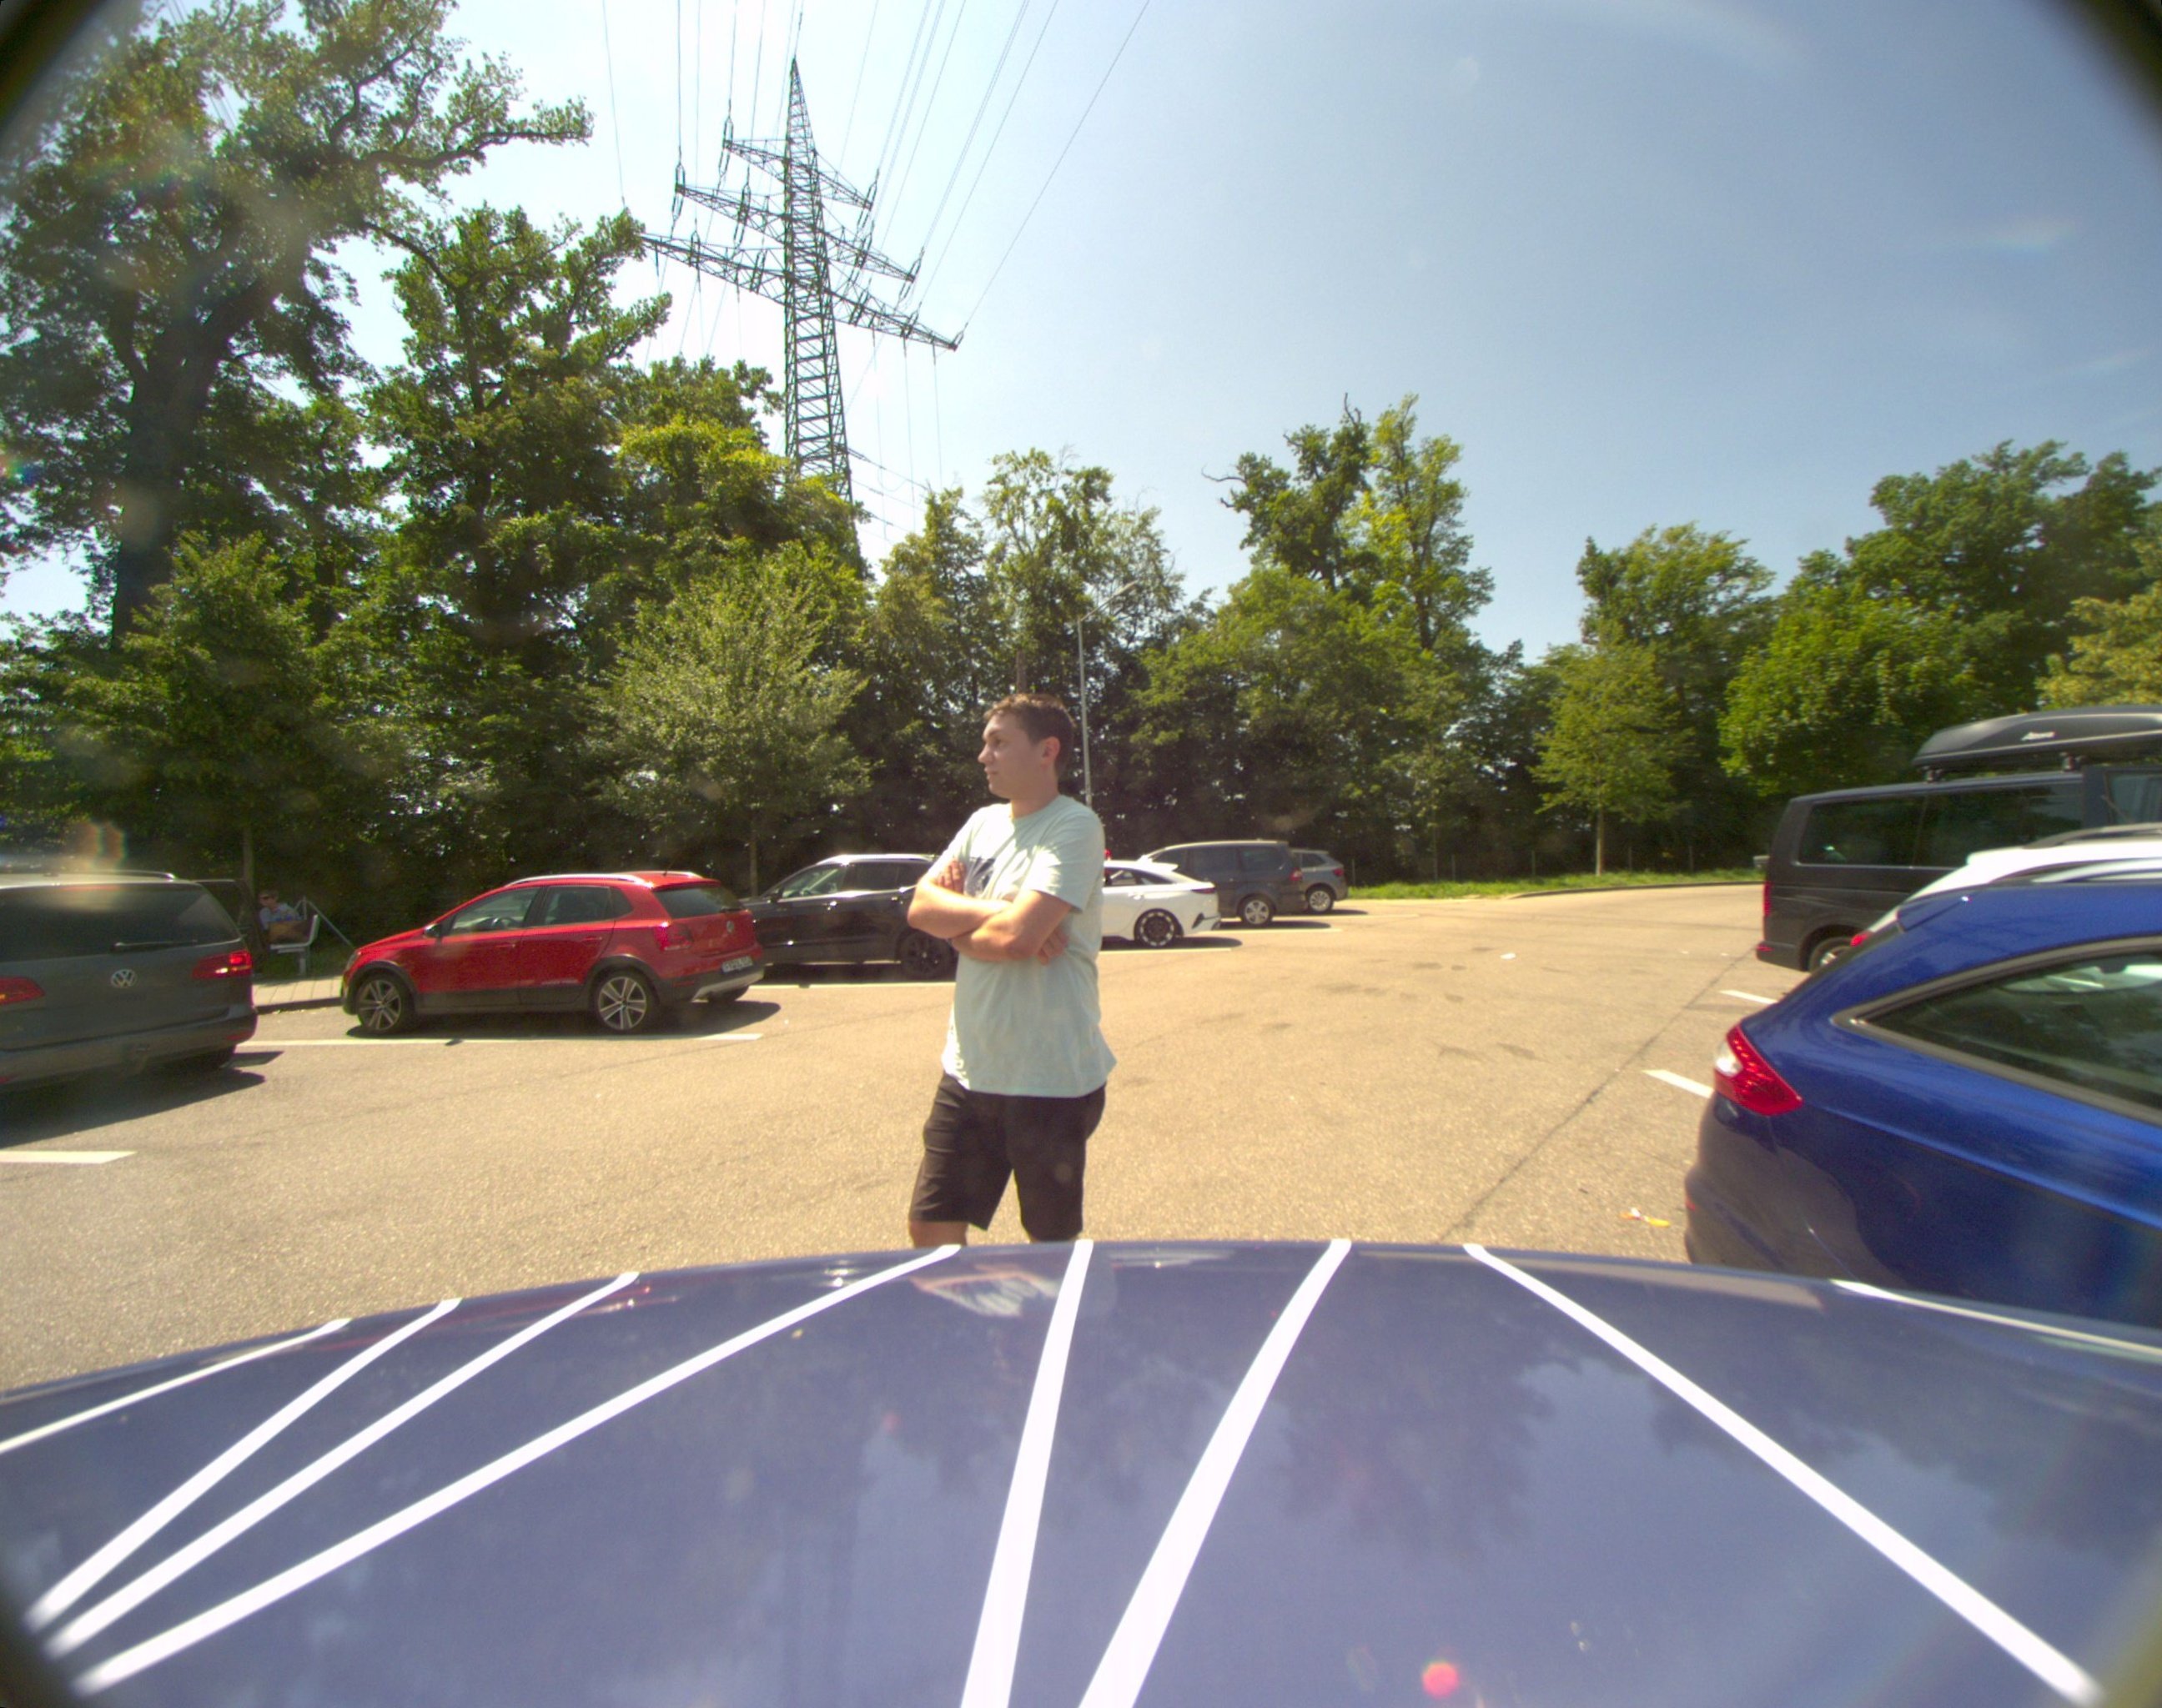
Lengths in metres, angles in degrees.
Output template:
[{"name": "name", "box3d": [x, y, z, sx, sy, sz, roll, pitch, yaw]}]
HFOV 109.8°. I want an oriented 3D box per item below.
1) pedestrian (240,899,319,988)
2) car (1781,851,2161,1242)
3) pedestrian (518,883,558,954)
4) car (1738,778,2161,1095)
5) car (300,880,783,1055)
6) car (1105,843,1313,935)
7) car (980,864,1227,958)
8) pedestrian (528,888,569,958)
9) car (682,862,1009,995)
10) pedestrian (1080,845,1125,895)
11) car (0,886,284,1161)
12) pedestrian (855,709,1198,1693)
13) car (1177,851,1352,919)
[{"name": "pedestrian", "box3d": [-11.716, 1.295, 11.111, 0.680, 1.211, 0.675, -4, -2, 36]}, {"name": "car", "box3d": [4.778, 0.700, 2.411, 1.607, 1.405, 3.743, -2, -1, -1]}, {"name": "pedestrian", "box3d": [-10.953, 1.285, 15.326, 0.490, 1.367, 0.506, -2, 0, 41]}, {"name": "car", "box3d": [7.306, 0.455, 5.007, 2.048, 1.850, 4.430, -2, -1, -1]}, {"name": "car", "box3d": [-5.242, 1.066, 7.649, 3.804, 1.449, 1.637, -1, 1, 7]}, {"name": "car", "box3d": [2.511, 0.682, 15.475, 3.882, 1.680, 1.882, -1, 0, 5]}, {"name": "car", "box3d": [0.408, 0.909, 12.725, 3.805, 1.359, 1.803, -1, 1, 5]}, {"name": "pedestrian", "box3d": [-10.167, 1.302, 14.520, 0.490, 1.291, 0.506, -2, 0, 41]}, {"name": "car", "box3d": [-3.007, 0.940, 10.276, 3.806, 1.538, 1.759, -1, 1, 2]}, {"name": "pedestrian", "box3d": [0.586, 0.426, 20.387, 0.890, 1.292, 0.865, -2, 0, 25]}, {"name": "car", "box3d": [-8.343, 1.097, 5.433, 3.950, 1.581, 1.753, -1, 1, 11]}, {"name": "pedestrian", "box3d": [-0.195, 0.653, 1.883, 0.634, 1.857, 0.747, -2, 0, -17]}, {"name": "car", "box3d": [4.260, 0.708, 18.118, 3.805, 1.468, 1.743, -1, 1, 5]}]
